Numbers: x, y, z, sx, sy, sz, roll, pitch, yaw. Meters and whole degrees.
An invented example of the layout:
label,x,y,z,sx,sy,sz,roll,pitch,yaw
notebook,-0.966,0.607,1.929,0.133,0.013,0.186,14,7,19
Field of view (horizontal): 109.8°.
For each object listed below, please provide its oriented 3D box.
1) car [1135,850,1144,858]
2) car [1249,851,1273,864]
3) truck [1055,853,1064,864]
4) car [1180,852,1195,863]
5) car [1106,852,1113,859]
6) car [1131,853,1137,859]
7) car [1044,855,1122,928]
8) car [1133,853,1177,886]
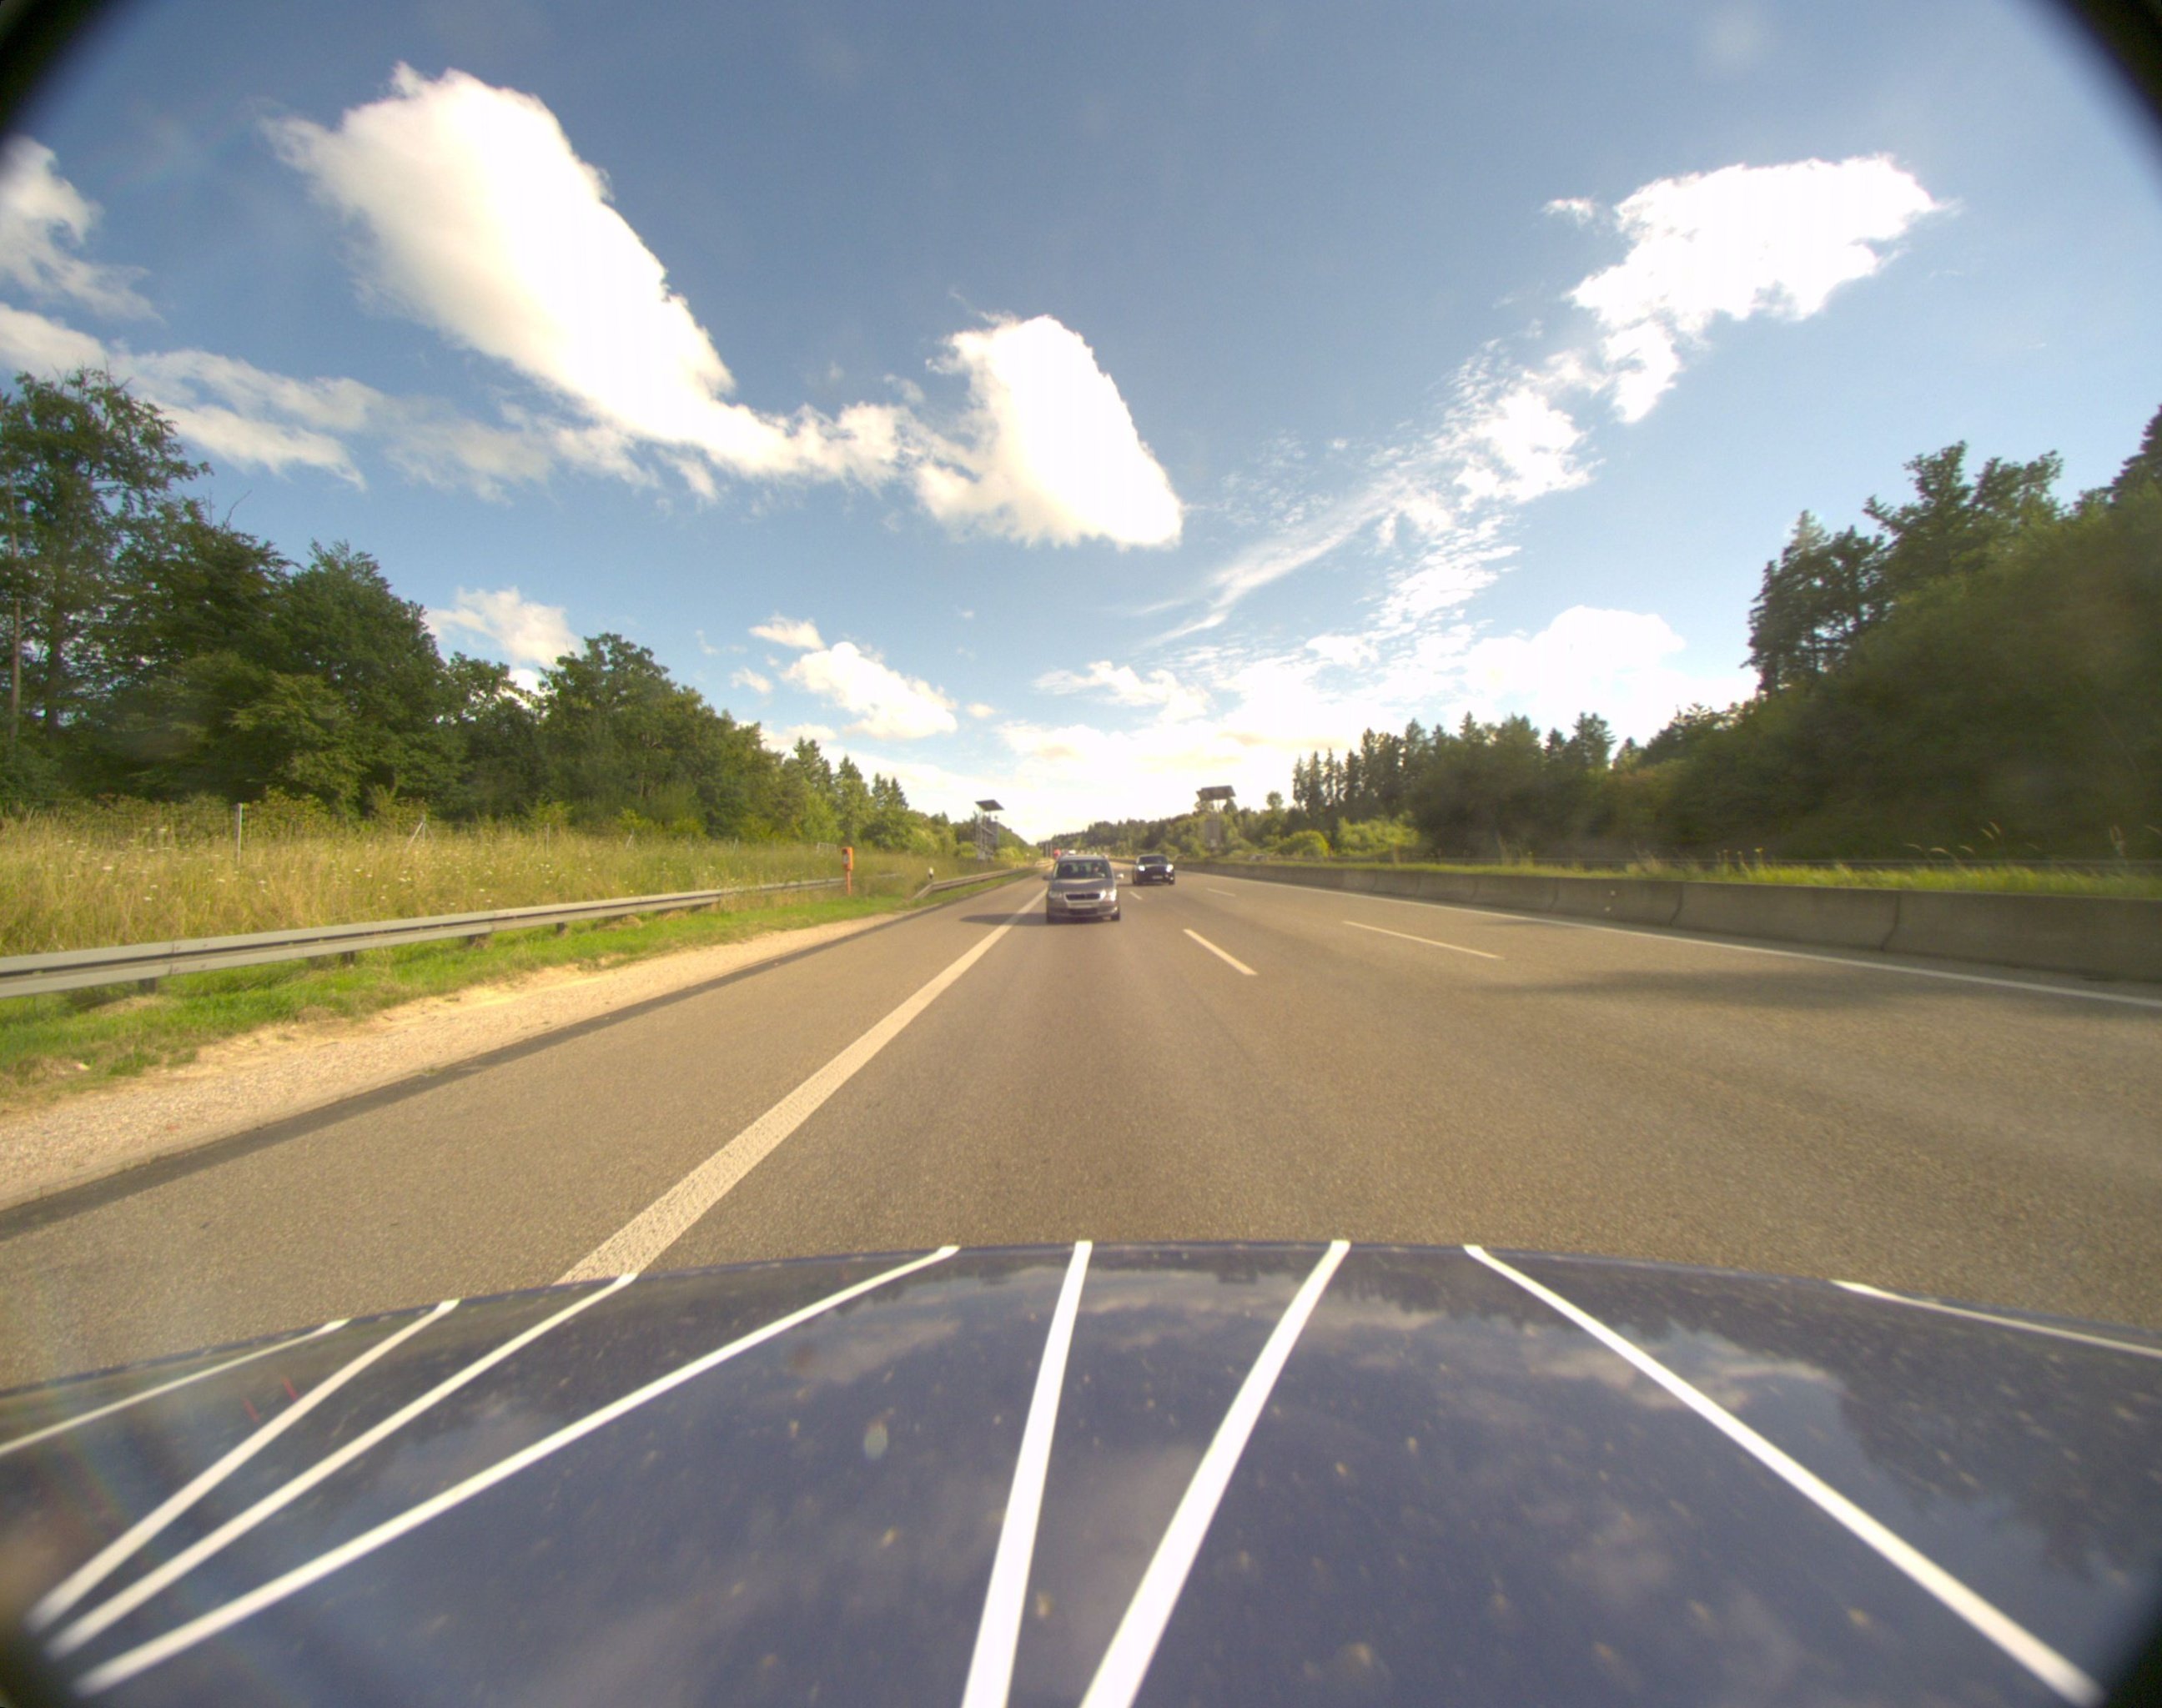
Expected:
label,x,y,z,sx,sy,sz,roll,pitch,yaw
car,15.895,-0.006,207.733,1.999,2.002,4.071,-2,0,0
car,23.342,0.489,98.730,1.884,1.618,4.570,-2,0,0
truck,-7.448,1.525,263.638,2.880,3.871,8.958,-2,0,0
car,20.287,0.658,144.897,1.999,1.870,4.437,-2,0,0
car,8.016,0.405,213.662,1.998,1.772,4.000,-2,0,1
car,18.127,0.585,259.759,1.931,1.894,4.429,-2,0,-1
car,0.078,0.869,19.557,1.742,1.608,4.083,-2,0,1
car,3.937,0.796,41.102,1.961,1.608,4.387,-2,0,1
